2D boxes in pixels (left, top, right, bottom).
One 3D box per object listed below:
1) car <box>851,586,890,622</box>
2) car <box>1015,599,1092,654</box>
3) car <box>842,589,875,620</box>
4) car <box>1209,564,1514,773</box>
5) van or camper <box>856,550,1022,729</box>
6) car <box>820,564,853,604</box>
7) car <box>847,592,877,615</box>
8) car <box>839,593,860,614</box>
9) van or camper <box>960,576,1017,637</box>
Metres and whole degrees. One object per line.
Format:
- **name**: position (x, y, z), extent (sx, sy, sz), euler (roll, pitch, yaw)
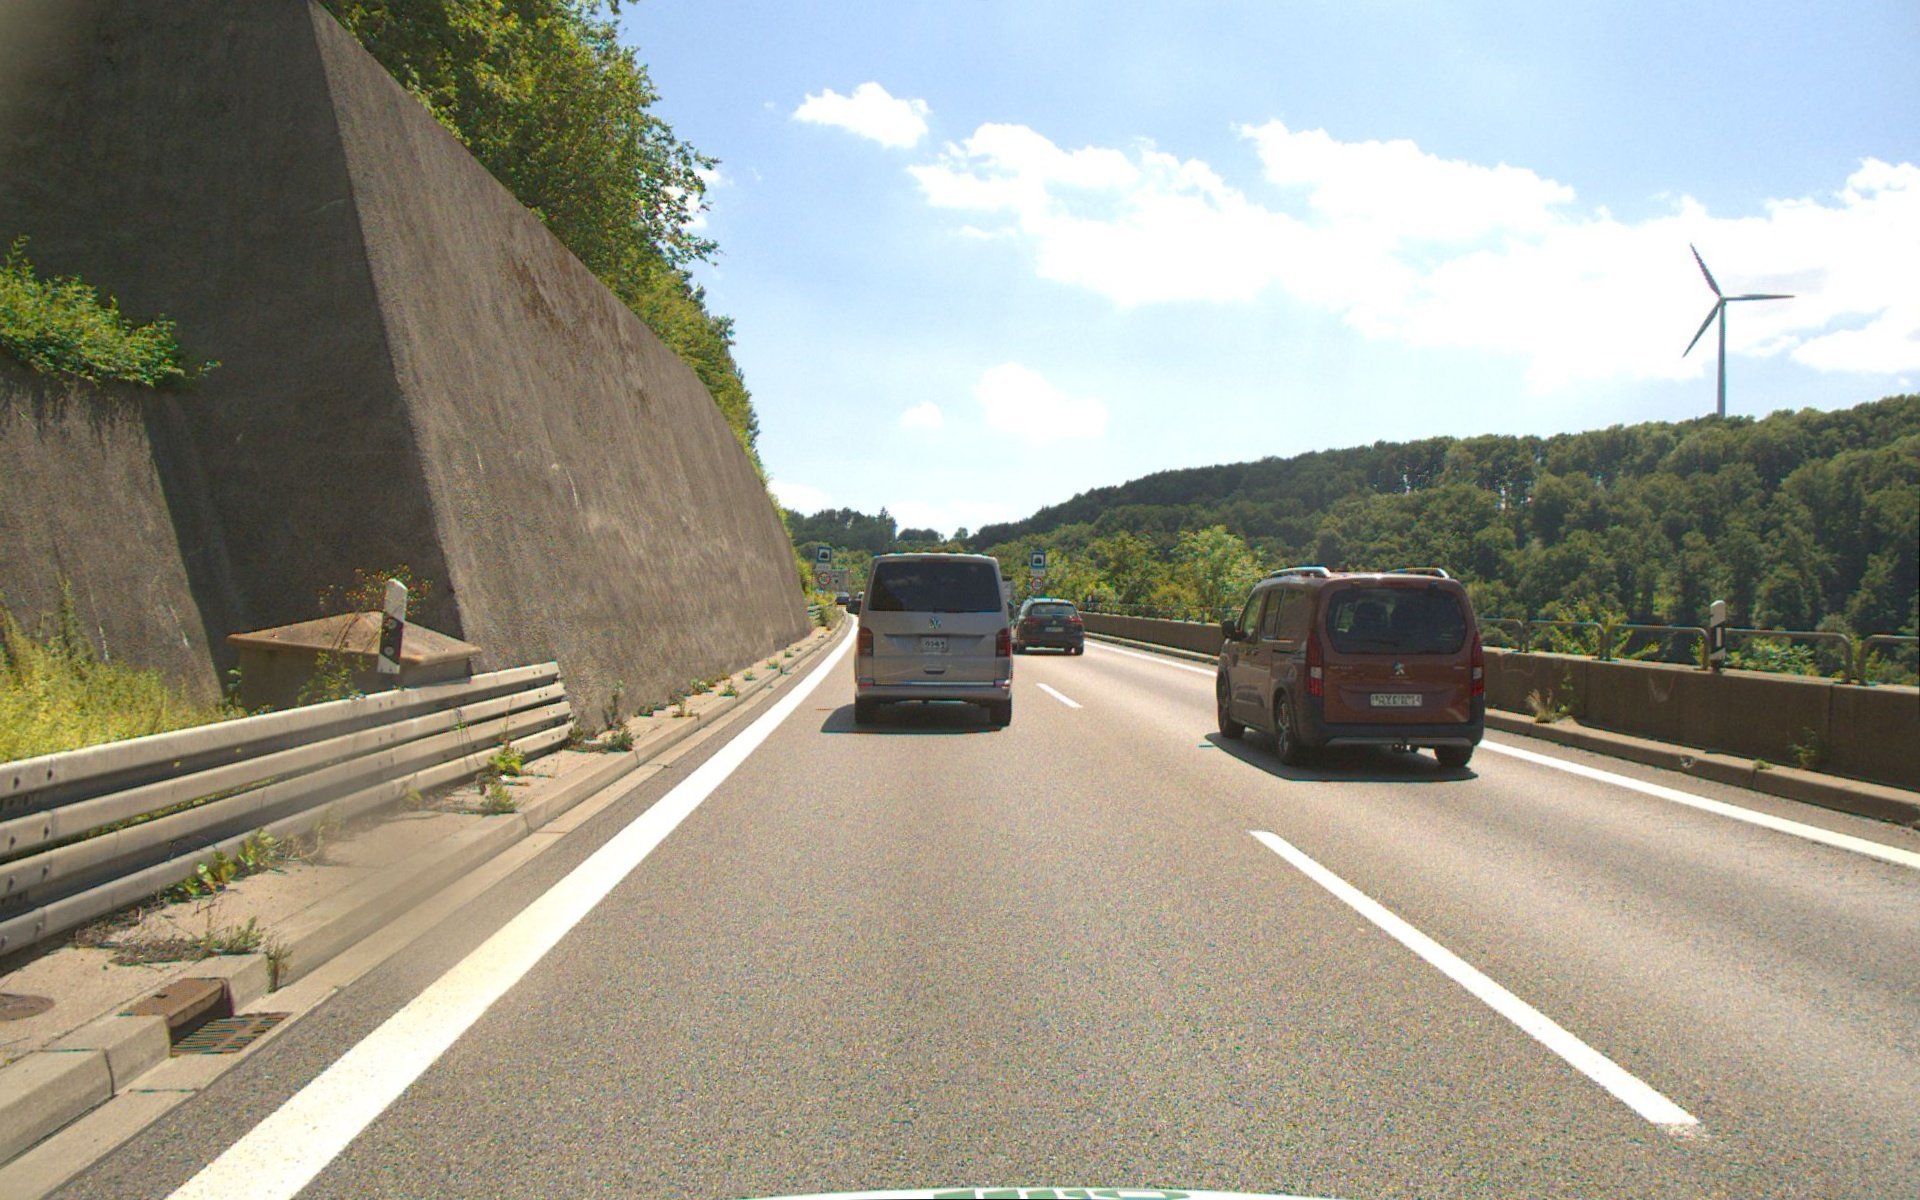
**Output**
- **car**: position (-4.731, 0.209, 87.184), extent (1.954, 1.849, 3.996), euler (0, 0, -5)
- **car**: position (2.481, 0.688, 44.729), extent (1.733, 1.400, 3.591), euler (1, 0, -2)
- **car**: position (-6.479, 0.278, 105.705), extent (1.953, 1.948, 3.998), euler (0, 0, -2)
- **car**: position (3.878, 0.612, 16.857), extent (1.796, 1.815, 4.673), euler (0, 0, -2)
- **van or camper**: position (-0.259, 0.434, 20.539), extent (1.837, 1.983, 4.293), euler (0, 0, -1)
- **car**: position (-15.697, -2.000, 209.746), extent (3.964, 4.956, 10.099), euler (1, 0, -5)
- **car**: position (-7.294, 0.262, 122.689), extent (2.101, 1.635, 5.072), euler (0, 0, -5)
- **car**: position (-11.192, 0.331, 167.356), extent (1.953, 2.049, 3.998), euler (-1, 0, -2)
- **van or camper**: position (1.241, 0.259, 73.942), extent (2.218, 2.596, 4.734), euler (-1, 0, -3)
